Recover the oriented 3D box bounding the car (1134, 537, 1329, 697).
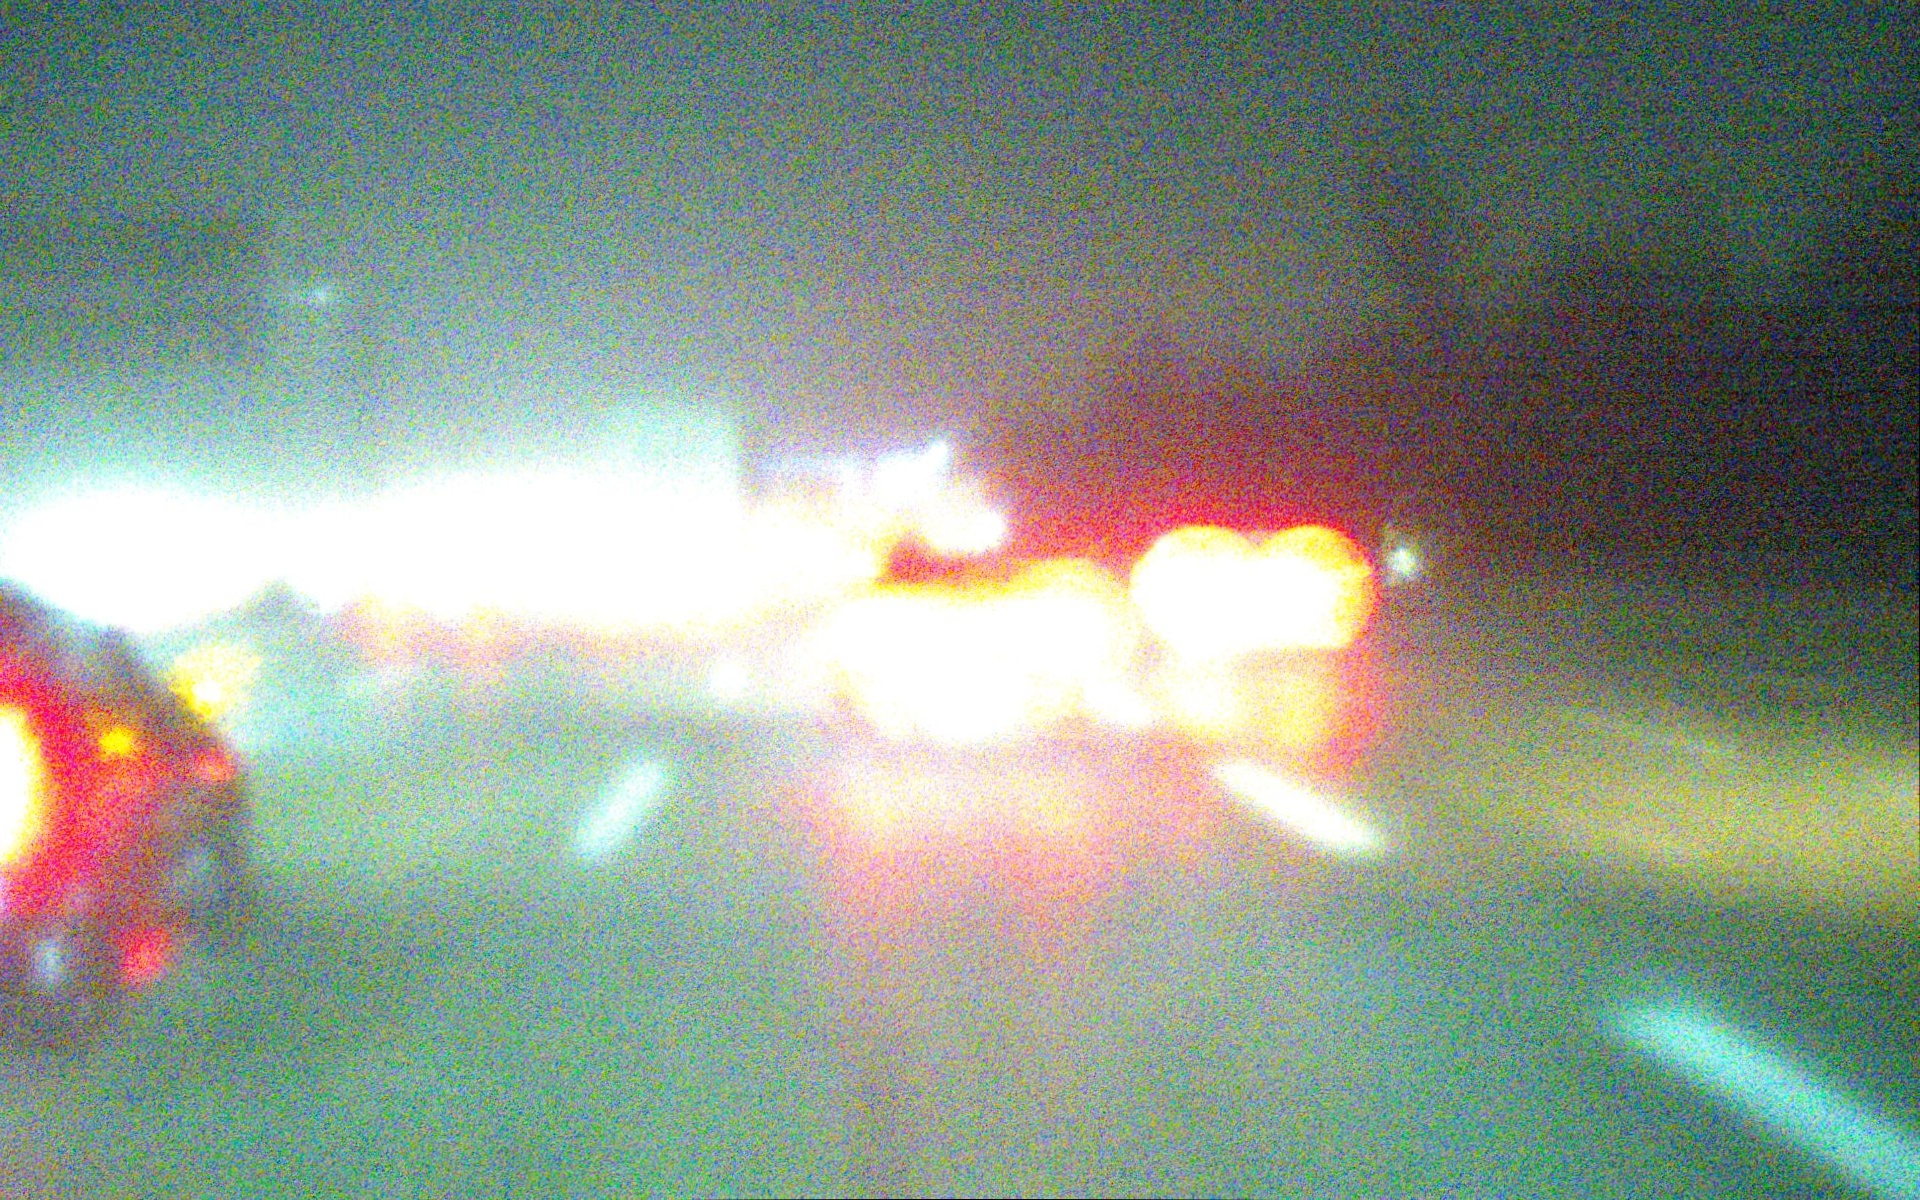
[{"bbox_3d":[3.109,0.176,40.127,1.878,1.756,4.000,1,0,-1],"label":"car"}]

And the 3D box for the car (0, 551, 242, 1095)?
[{"bbox_3d":[-3.396,0.570,11.287,1.656,1.426,4.247,0,1,-7],"label":"car"}]

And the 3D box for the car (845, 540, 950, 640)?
[{"bbox_3d":[-1.167,-0.199,62.909,1.765,1.756,4.000,1,0,-3],"label":"car"}]

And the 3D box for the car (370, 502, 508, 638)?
[{"bbox_3d":[-9.139,-0.525,60.548,2.263,2.265,5.387,1,0,-8],"label":"car"}]

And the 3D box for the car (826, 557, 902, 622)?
[{"bbox_3d":[-2.598,-0.293,93.519,1.993,1.698,4.459,1,0,-1],"label":"car"}]

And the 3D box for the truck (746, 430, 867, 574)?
[{"bbox_3d":[-5.963,-3.759,136.086,4.254,5.425,10.884,1,0,0],"label":"truck"}]

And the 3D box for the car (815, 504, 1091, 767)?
[{"bbox_3d":[-0.079,0.187,24.048,1.765,1.683,4.000,0,1,-1],"label":"car"}]

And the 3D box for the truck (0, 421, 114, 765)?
[{"bbox_3d":[-7.648,-0.065,23.124,2.856,2.193,5.859,1,0,-4],"label":"truck"}]

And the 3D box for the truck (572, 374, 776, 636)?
[{"bbox_3d":[-5.679,-1.756,67.410,3.655,4.721,9.854,1,0,-6],"label":"truck"}]

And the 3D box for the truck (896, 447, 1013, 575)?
[{"bbox_3d":[-0.320,-3.660,145.284,4.161,5.197,9.955,1,0,-4],"label":"truck"}]
